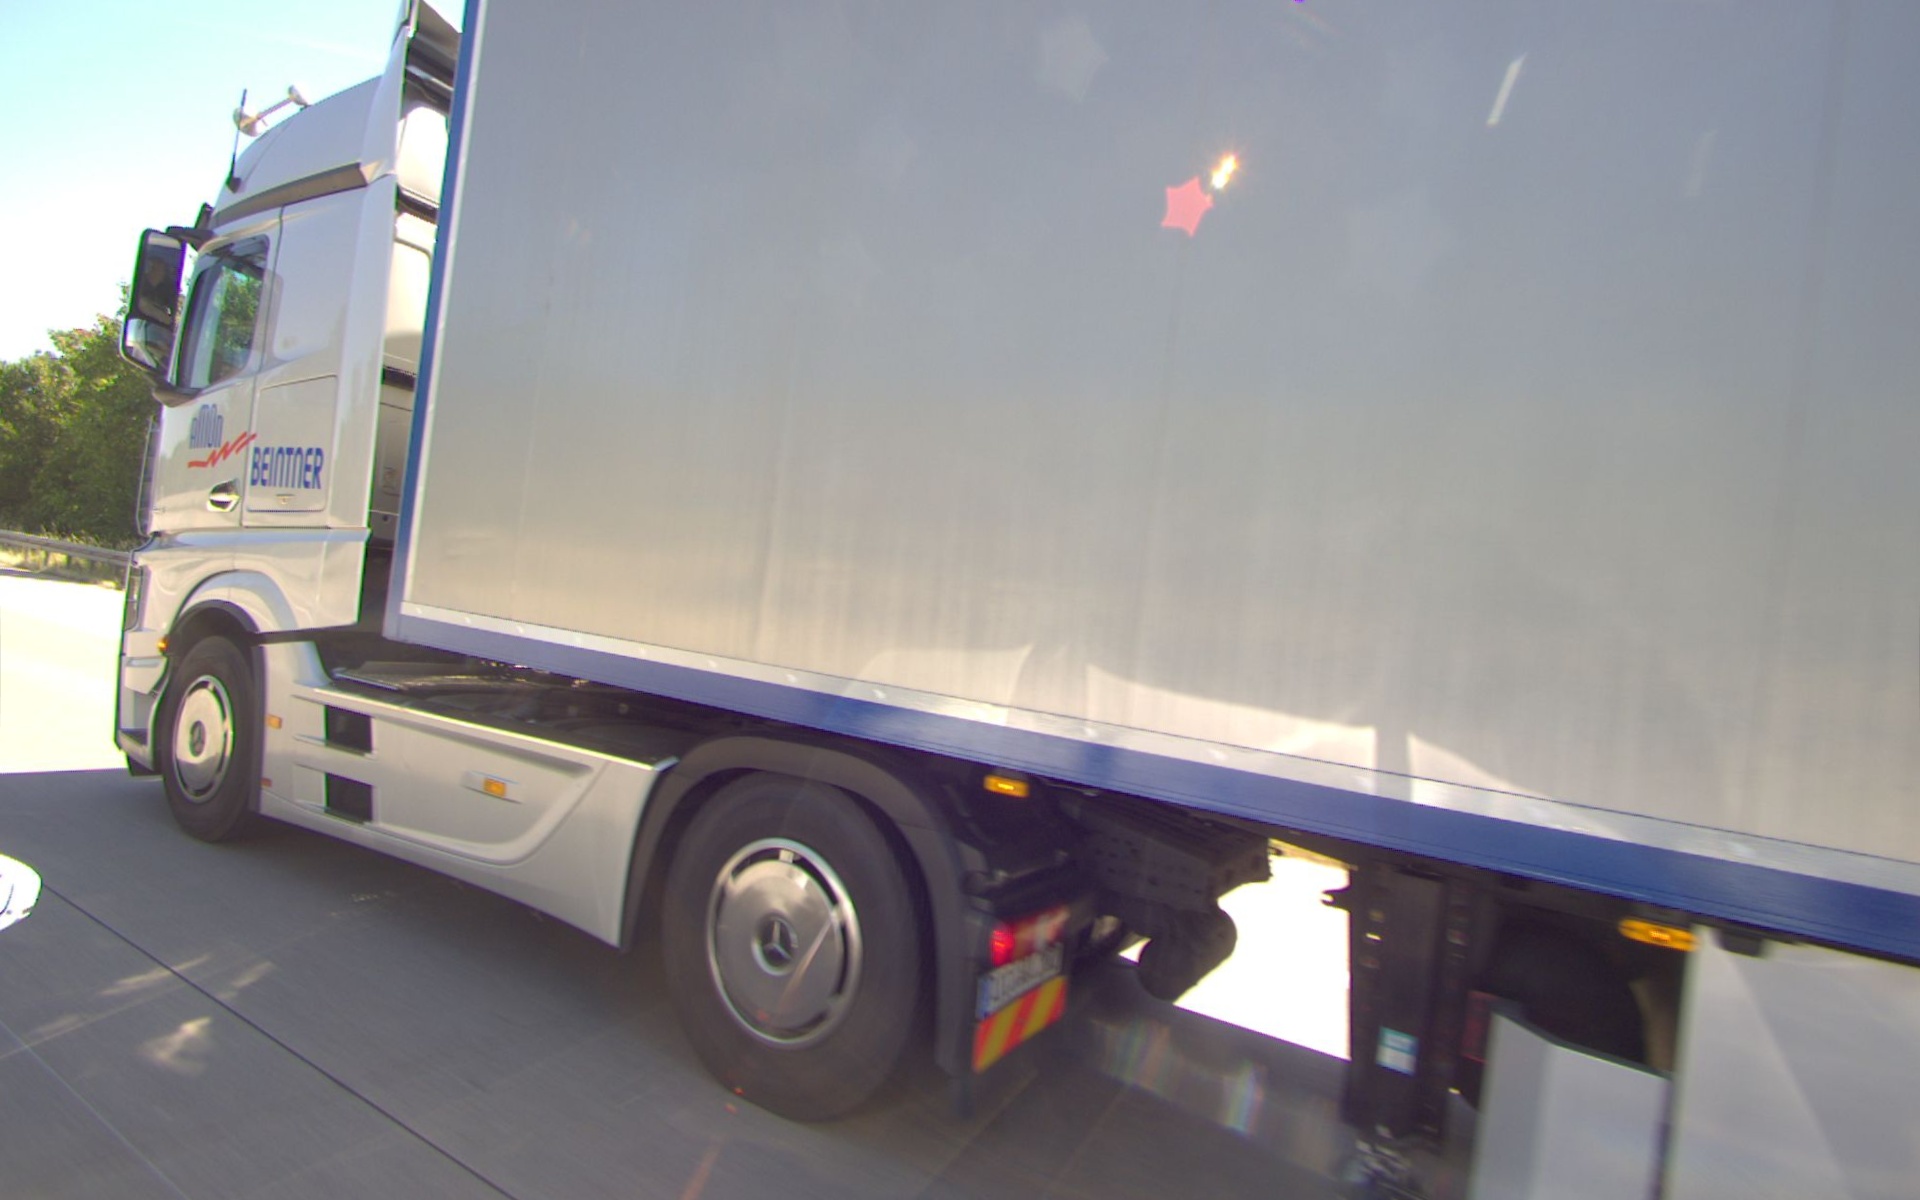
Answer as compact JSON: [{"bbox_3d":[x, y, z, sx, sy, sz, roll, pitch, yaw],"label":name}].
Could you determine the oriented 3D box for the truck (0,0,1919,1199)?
[{"bbox_3d":[3.751,-0.893,2.132,17.943,5.848,3.588,7,-3,32],"label":"truck"}]
